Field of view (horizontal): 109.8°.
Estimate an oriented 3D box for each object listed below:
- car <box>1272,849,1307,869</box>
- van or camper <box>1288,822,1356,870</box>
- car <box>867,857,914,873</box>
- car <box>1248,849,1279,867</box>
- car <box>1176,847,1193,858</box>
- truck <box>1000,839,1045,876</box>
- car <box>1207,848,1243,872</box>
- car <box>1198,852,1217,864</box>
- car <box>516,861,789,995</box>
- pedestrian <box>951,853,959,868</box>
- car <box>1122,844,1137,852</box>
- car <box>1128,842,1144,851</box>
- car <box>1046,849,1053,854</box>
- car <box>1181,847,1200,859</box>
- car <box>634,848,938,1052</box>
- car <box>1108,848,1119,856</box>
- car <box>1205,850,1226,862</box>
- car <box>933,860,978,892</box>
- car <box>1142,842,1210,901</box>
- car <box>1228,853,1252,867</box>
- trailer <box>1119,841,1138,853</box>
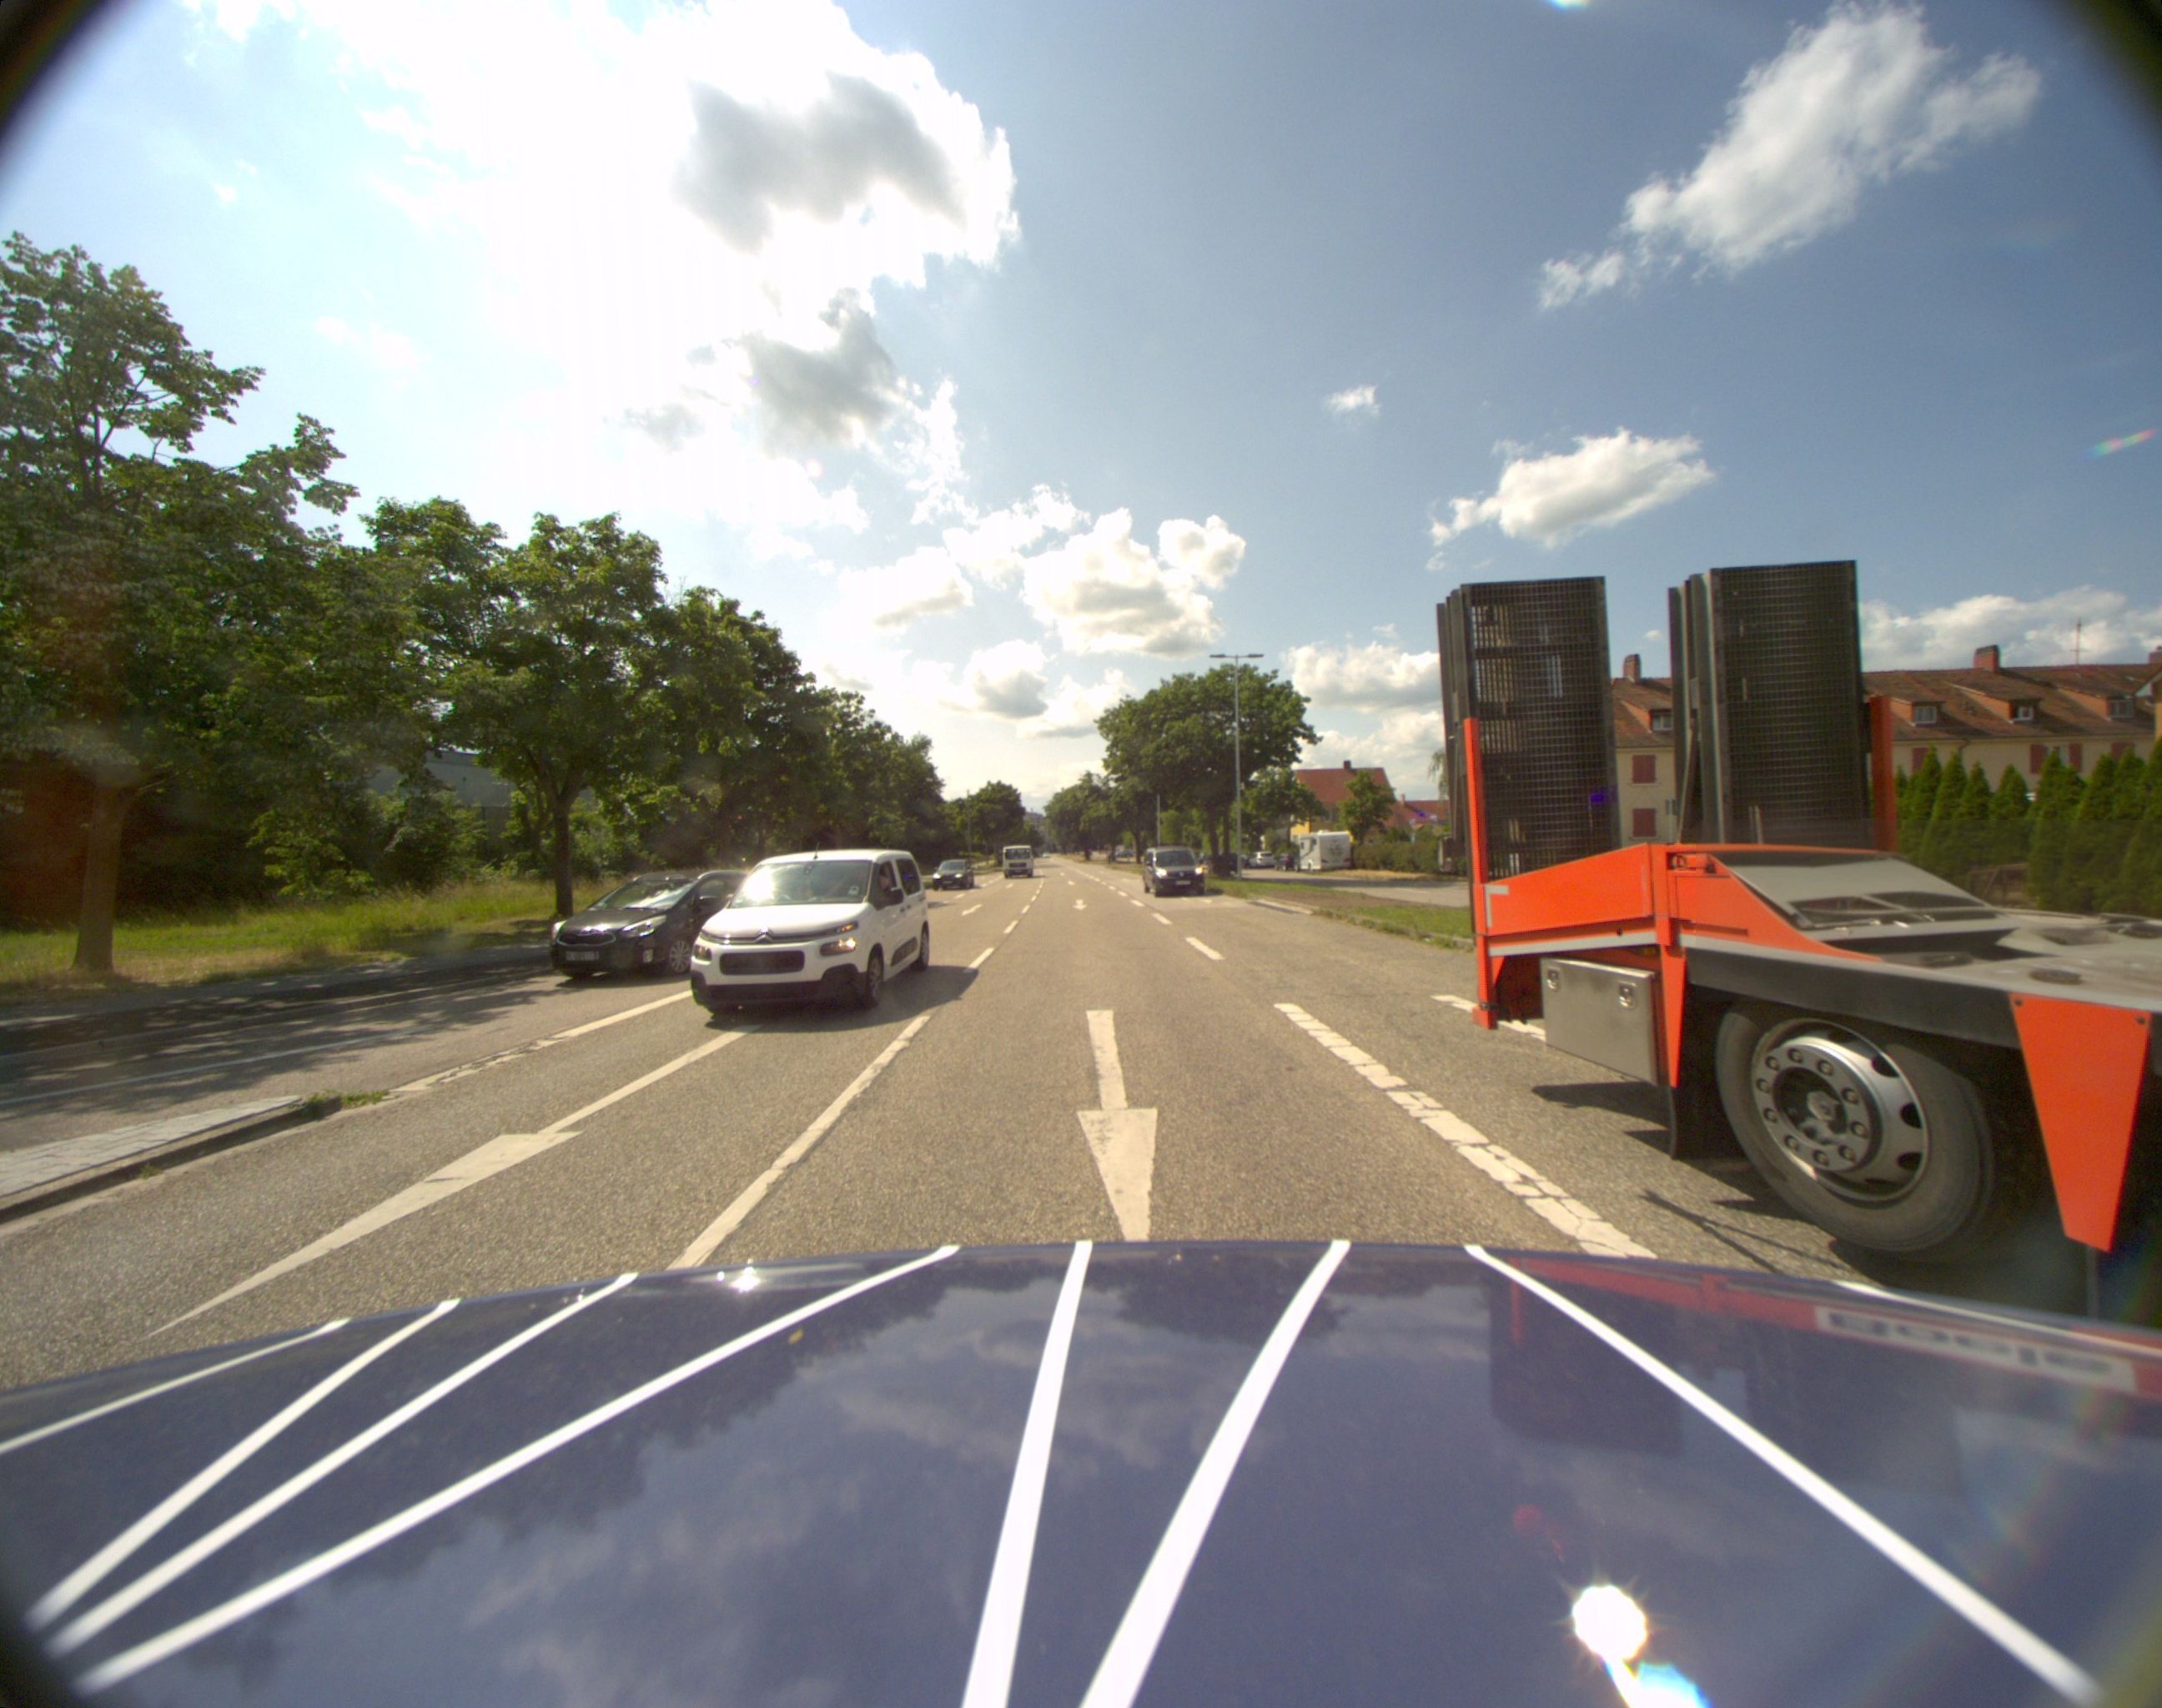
[{"bbox_3d":[16.921,0.391,61.898,1.640,1.477,3.991,-4,1,-1],"label":"car"},{"bbox_3d":[17.249,-0.542,54.967,2.265,3.094,7.319,-4,0,-1],"label":"van or camper"},{"bbox_3d":[-18.228,1.056,72.770,4.176,1.484,1.783,1,-1,-8],"label":"car"},{"bbox_3d":[16.858,0.318,70.363,1.693,1.477,4.122,-4,1,-1],"label":"car"},{"bbox_3d":[15.432,-0.263,113.157,1.665,1.443,3.844,-4,1,-4],"label":"car"},{"bbox_3d":[-4.737,0.200,62.649,2.848,2.649,7.350,-3,1,1],"label":"truck"},{"bbox_3d":[10.420,0.420,55.350,1.799,1.679,3.999,-1,1,-1],"label":"car"},{"bbox_3d":[16.122,0.519,97.106,1.567,1.387,3.475,-4,1,-3],"label":"car"},{"bbox_3d":[-6.839,1.067,12.772,1.769,1.640,4.238,-3,1,6],"label":"car"},{"bbox_3d":[-14.853,0.747,89.516,0.719,1.784,0.739,-4,2,-4],"label":"pedestrian"},{"bbox_3d":[12.686,-1.568,198.056,1.800,2.002,4.007,-2,2,44],"label":"car"},{"bbox_3d":[13.708,-1.817,190.028,1.800,2.002,4.007,-2,2,44],"label":"car"},{"bbox_3d":[-9.108,-0.726,219.199,1.892,1.281,3.998,-4,1,-4],"label":"car"},{"bbox_3d":[15.191,-0.149,105.763,1.665,1.473,4.102,-4,0,-4],"label":"car"},{"bbox_3d":[-3.158,0.881,9.386,1.936,1.775,4.714,-4,0,-2],"label":"car"},{"bbox_3d":[6.906,-0.444,160.403,1.737,1.499,4.649,1,1,-5],"label":"car"},{"bbox_3d":[16.371,0.219,92.641,1.406,1.387,4.355,-4,1,-3],"label":"car"},{"bbox_3d":[-7.050,1.214,43.100,1.758,1.482,3.999,-3,1,1],"label":"car"},{"bbox_3d":[3.421,0.548,28.249,1.768,1.893,4.539,-4,1,-1],"label":"car"},{"bbox_3d":[17.109,0.662,82.131,1.515,1.362,4.530,-4,0,-1],"label":"car"},{"bbox_3d":[13.449,-2.105,215.153,2.821,3.090,5.763,-3,1,35],"label":"trailer"}]
